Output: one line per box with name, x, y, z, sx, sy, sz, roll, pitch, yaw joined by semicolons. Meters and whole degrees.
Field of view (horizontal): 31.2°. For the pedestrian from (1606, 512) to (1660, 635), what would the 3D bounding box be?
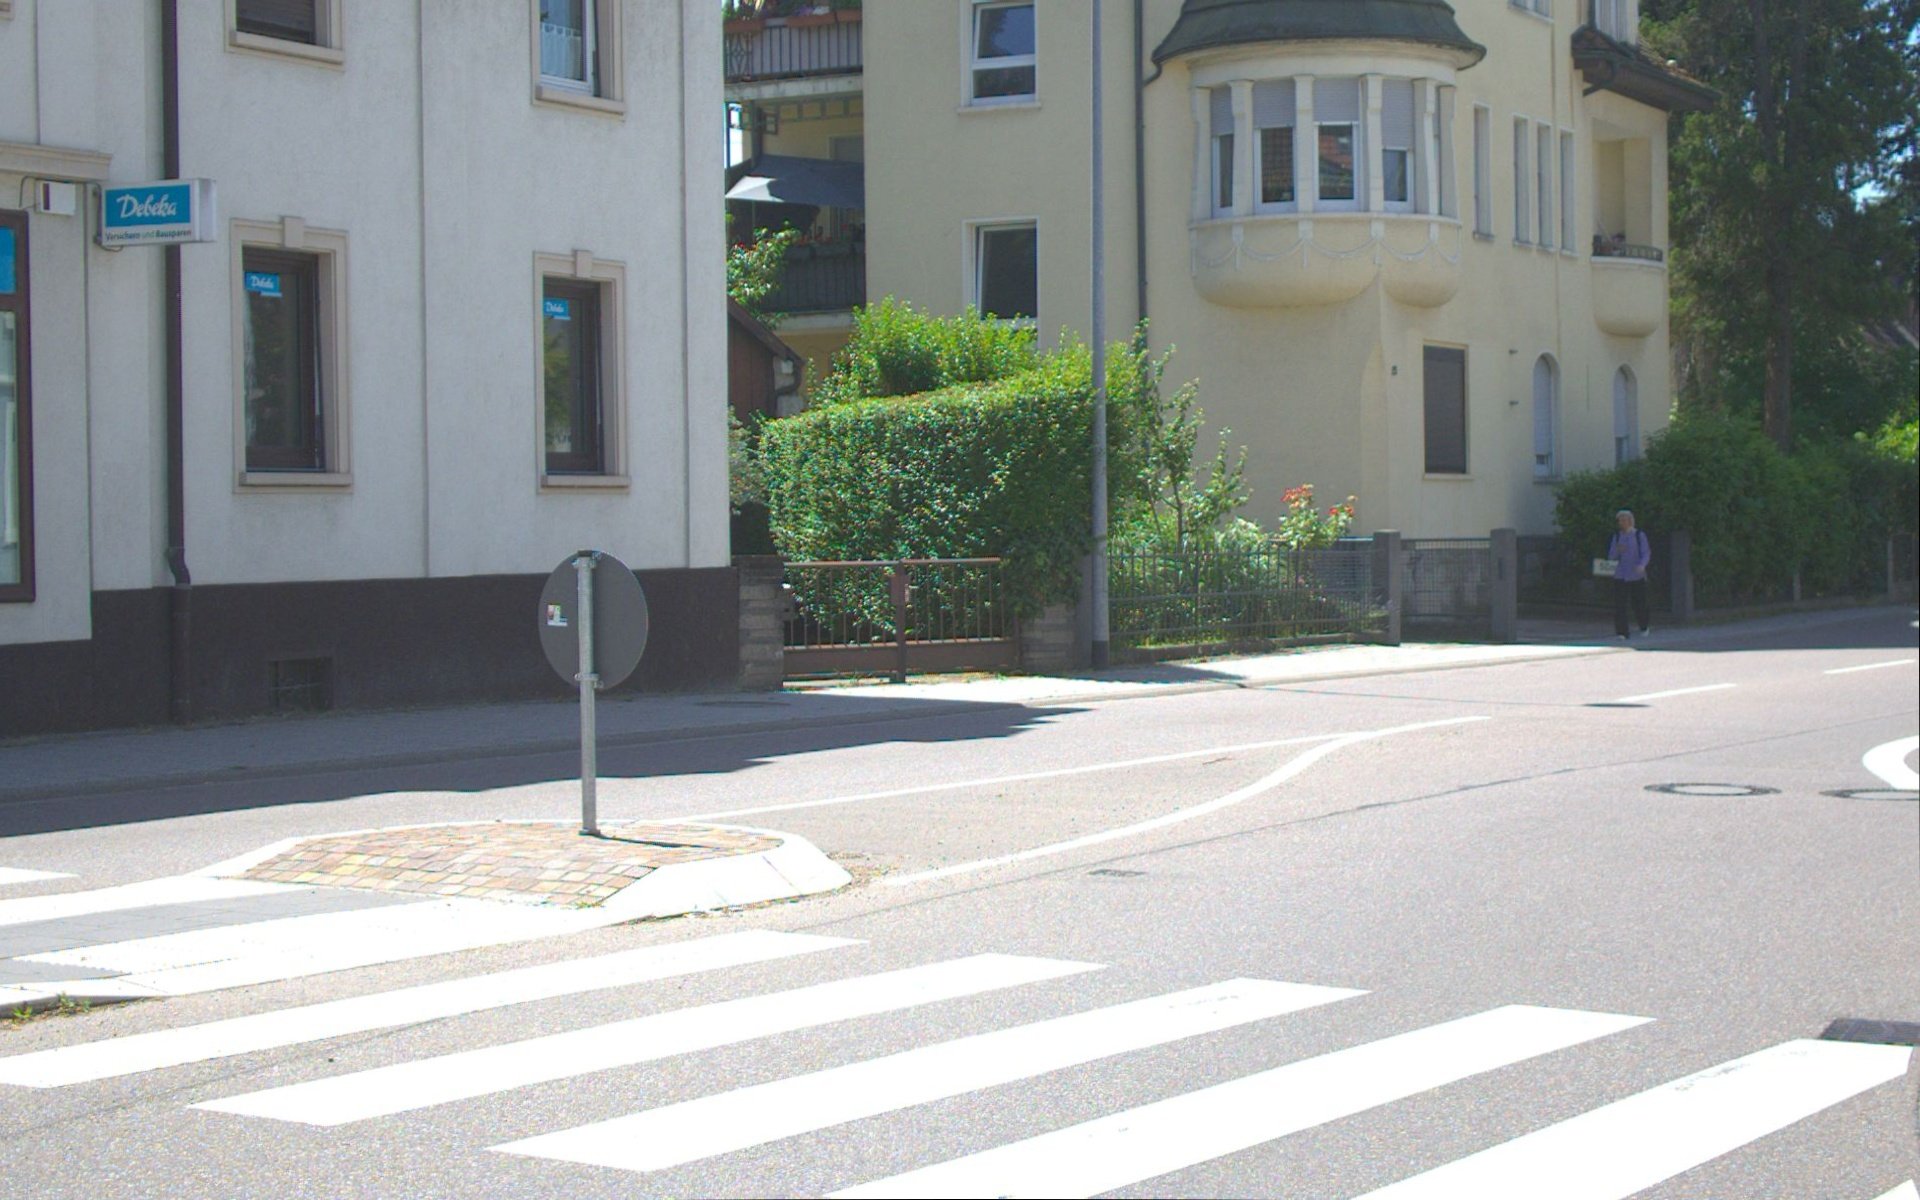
pedestrian;8.283;-0.332;42.323;0.524;1.504;0.472;0;1;30
